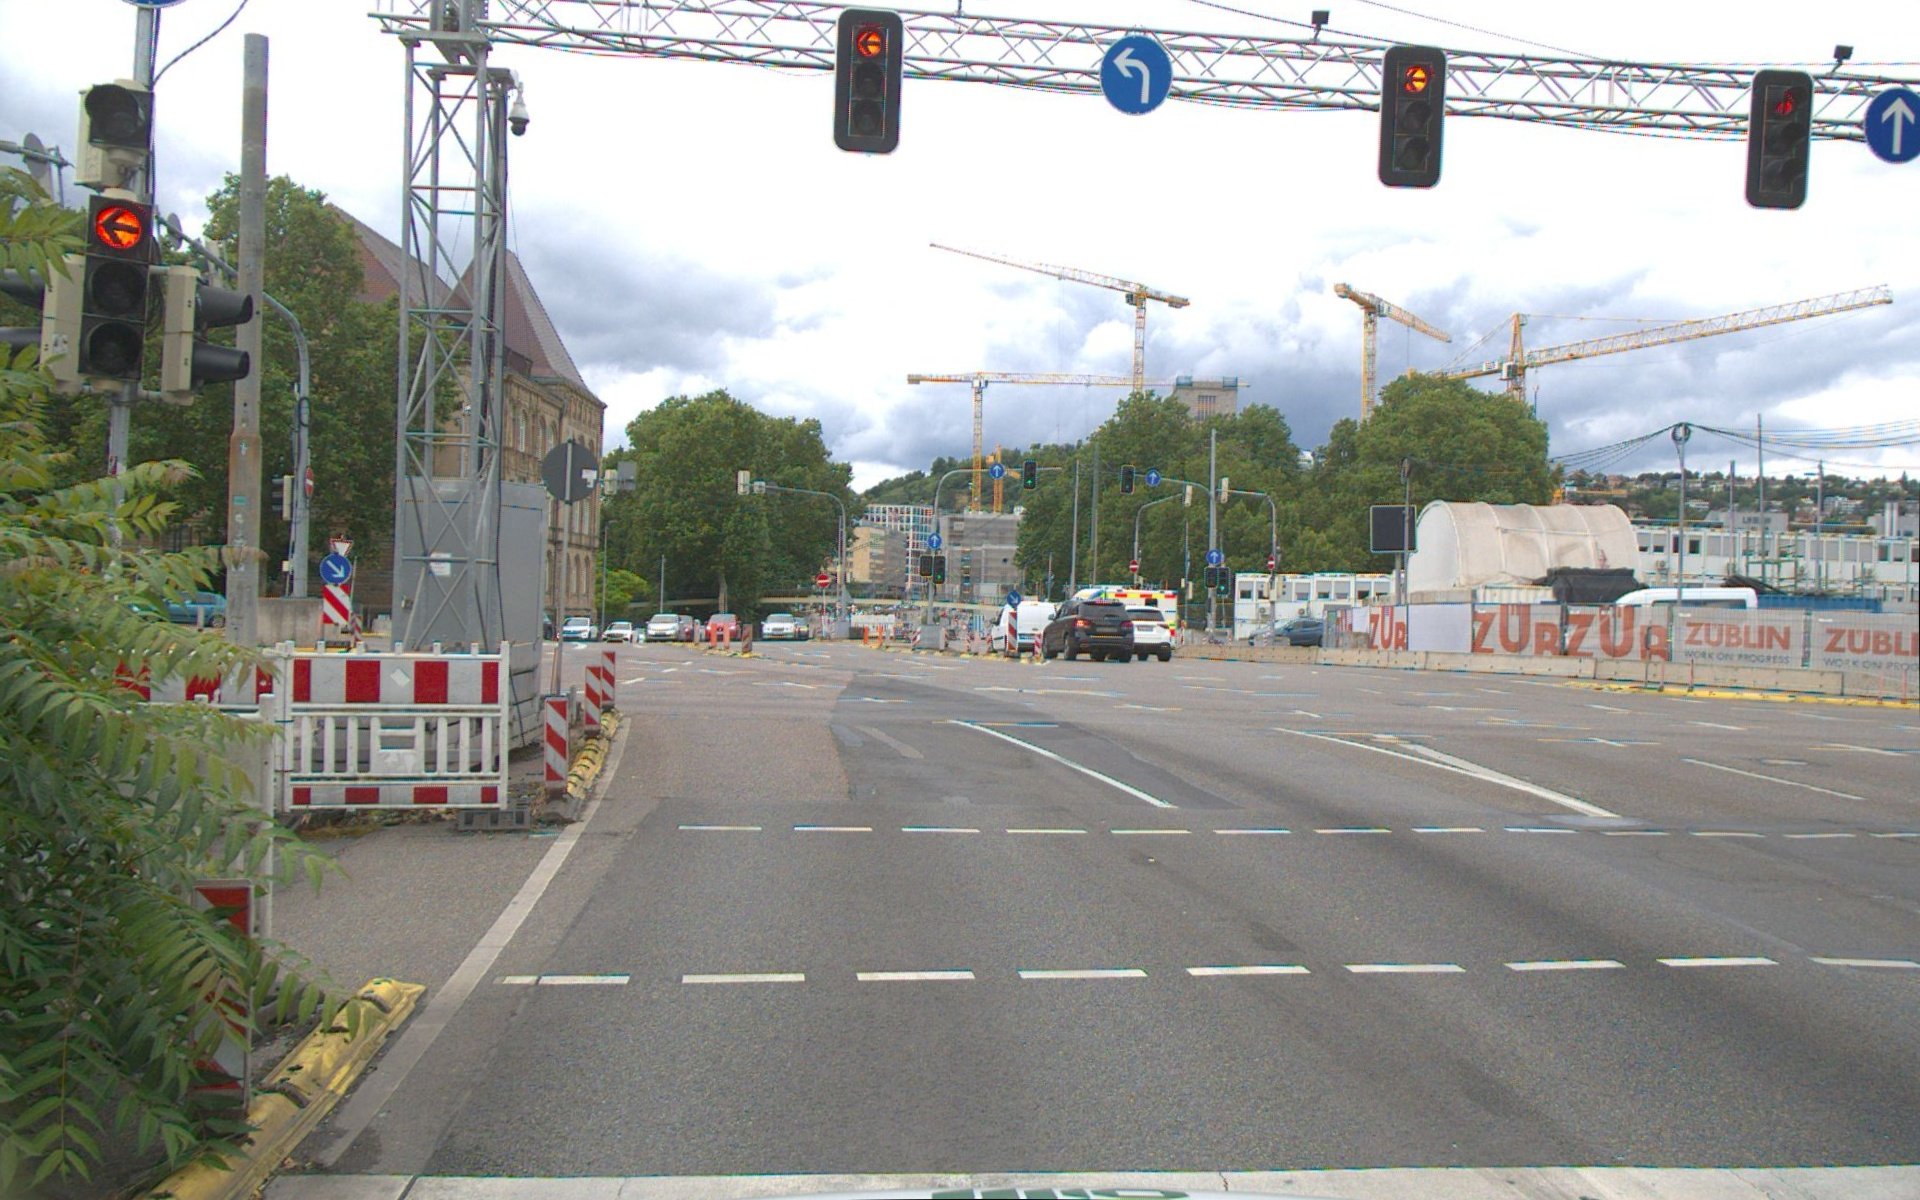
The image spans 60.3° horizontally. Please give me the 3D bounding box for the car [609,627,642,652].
[{"bbox_3d":[-21.487,2.523,106.407,1.644,1.422,3.678,2,0,-6],"label":"car"}]

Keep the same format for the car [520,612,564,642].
[{"bbox_3d":[-20.629,1.316,81.700,1.644,1.422,3.677,1,0,-7],"label":"car"}]

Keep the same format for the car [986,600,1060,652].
[{"bbox_3d":[2.070,0.852,55.541,1.783,1.653,3.993,1,0,-8],"label":"car"}]

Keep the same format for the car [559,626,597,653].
[{"bbox_3d":[-21.322,2.204,92.489,1.644,1.422,3.677,1,0,-7],"label":"car"}]

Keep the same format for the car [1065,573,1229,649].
[{"bbox_3d":[8.014,0.479,71.011,6.636,3.105,2.359,1,0,-19],"label":"car"}]

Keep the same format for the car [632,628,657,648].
[{"bbox_3d":[-23.940,2.889,125.559,1.644,1.422,3.677,1,0,-7],"label":"car"}]

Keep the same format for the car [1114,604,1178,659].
[{"bbox_3d":[6.021,1.000,53.771,1.642,1.732,3.374,1,0,-1],"label":"car"}]

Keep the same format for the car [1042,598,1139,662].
[{"bbox_3d":[3.767,0.844,48.521,1.799,1.776,4.245,1,0,-10],"label":"car"}]

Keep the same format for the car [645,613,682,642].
[{"bbox_3d":[-15.265,1.421,85.371,1.644,1.422,3.677,1,0,-7],"label":"car"}]

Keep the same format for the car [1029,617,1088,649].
[{"bbox_3d":[4.502,1.500,76.030,1.650,1.422,3.070,1,0,-19],"label":"car"}]

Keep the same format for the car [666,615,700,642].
[{"bbox_3d":[-15.305,1.546,91.530,1.644,1.422,3.677,1,0,-7],"label":"car"}]

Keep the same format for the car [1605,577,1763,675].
[{"bbox_3d":[20.812,0.740,47.672,3.902,2.708,1.683,1,0,13],"label":"car"}]

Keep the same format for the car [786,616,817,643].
[{"bbox_3d":[-8.827,1.630,91.837,1.644,1.422,3.677,1,0,-7],"label":"car"}]

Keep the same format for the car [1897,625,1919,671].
[{"bbox_3d":[34.802,1.704,59.093,1.641,1.554,4.001,1,0,20],"label":"car"}]

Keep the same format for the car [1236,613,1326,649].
[{"bbox_3d":[15.508,1.507,79.935,3.927,1.653,1.812,1,0,-20],"label":"car"}]

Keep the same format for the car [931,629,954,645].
[{"bbox_3d":[-1.363,2.912,129.327,1.284,1.093,3.676,1,0,-8],"label":"car"}]

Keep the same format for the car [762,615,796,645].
[{"bbox_3d":[-9.303,1.519,84.864,1.644,1.422,3.677,1,0,-7],"label":"car"}]

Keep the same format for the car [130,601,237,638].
[{"bbox_3d":[-30.999,0.785,66.046,3.639,1.422,1.661,1,0,-34],"label":"car"}]

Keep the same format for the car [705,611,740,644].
[{"bbox_3d":[-12.133,1.377,84.510,1.644,1.608,3.677,1,0,-7],"label":"car"}]

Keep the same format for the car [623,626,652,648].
[{"bbox_3d":[-22.458,2.581,115.239,1.644,1.422,3.677,1,0,-7],"label":"car"}]
